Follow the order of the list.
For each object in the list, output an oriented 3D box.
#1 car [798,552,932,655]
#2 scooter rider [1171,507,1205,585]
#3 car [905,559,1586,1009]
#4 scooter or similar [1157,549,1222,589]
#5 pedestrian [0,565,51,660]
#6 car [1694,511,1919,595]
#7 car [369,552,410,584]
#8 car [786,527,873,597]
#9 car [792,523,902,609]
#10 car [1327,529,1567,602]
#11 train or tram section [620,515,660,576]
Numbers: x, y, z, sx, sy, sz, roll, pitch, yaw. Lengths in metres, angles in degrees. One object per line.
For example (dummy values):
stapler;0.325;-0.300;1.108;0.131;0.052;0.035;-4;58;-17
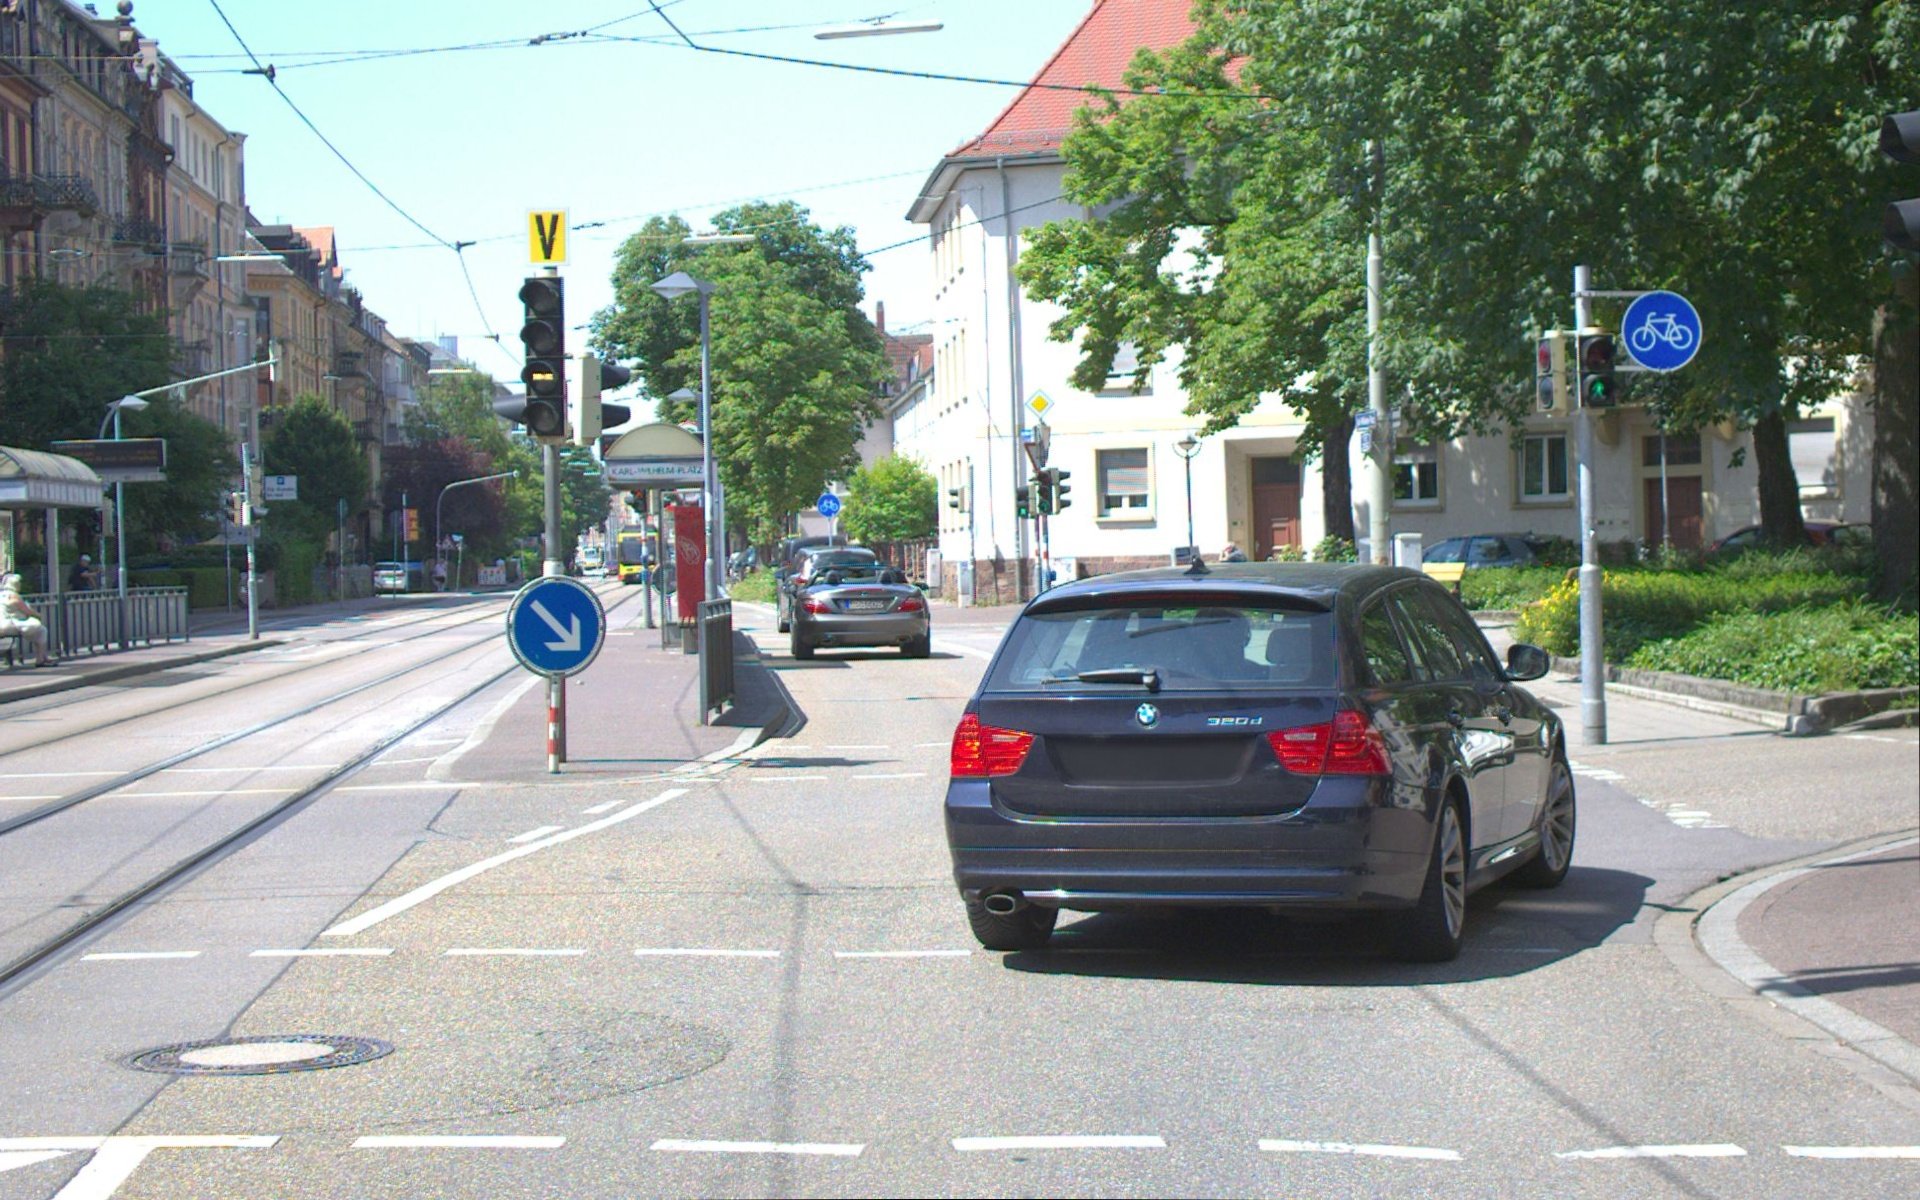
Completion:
car;-1.343;0.018;47.263;1.691;1.318;3.822;-1;1;-3
scooter rider;4.975;-1.173;74.941;0.590;1.681;0.528;-2;1;-9
car;1.310;0.562;13.490;1.724;1.404;4.561;1;1;17
scooter or similar;4.999;-0.669;74.944;1.311;0.834;0.527;-2;1;-9
pedestrian;-12.368;0.160;45.429;0.613;1.238;0.628;-2;1;-10
car;14.542;-0.780;57.483;1.787;1.324;4.338;-2;1;-36
car;-28.095;-1.586;169.299;1.787;1.580;4.001;0;0;-13
car;-3.672;-1.078;96.203;1.993;1.842;4.001;-2;1;-8
car;-2.118;-0.640;63.558;1.691;1.508;3.822;-1;1;-6
car;8.889;-0.627;62.830;3.994;1.239;1.621;-1;1;31
train or tram section;-19.029;-3.249;204.805;2.190;3.470;8.847;-2;1;-5
